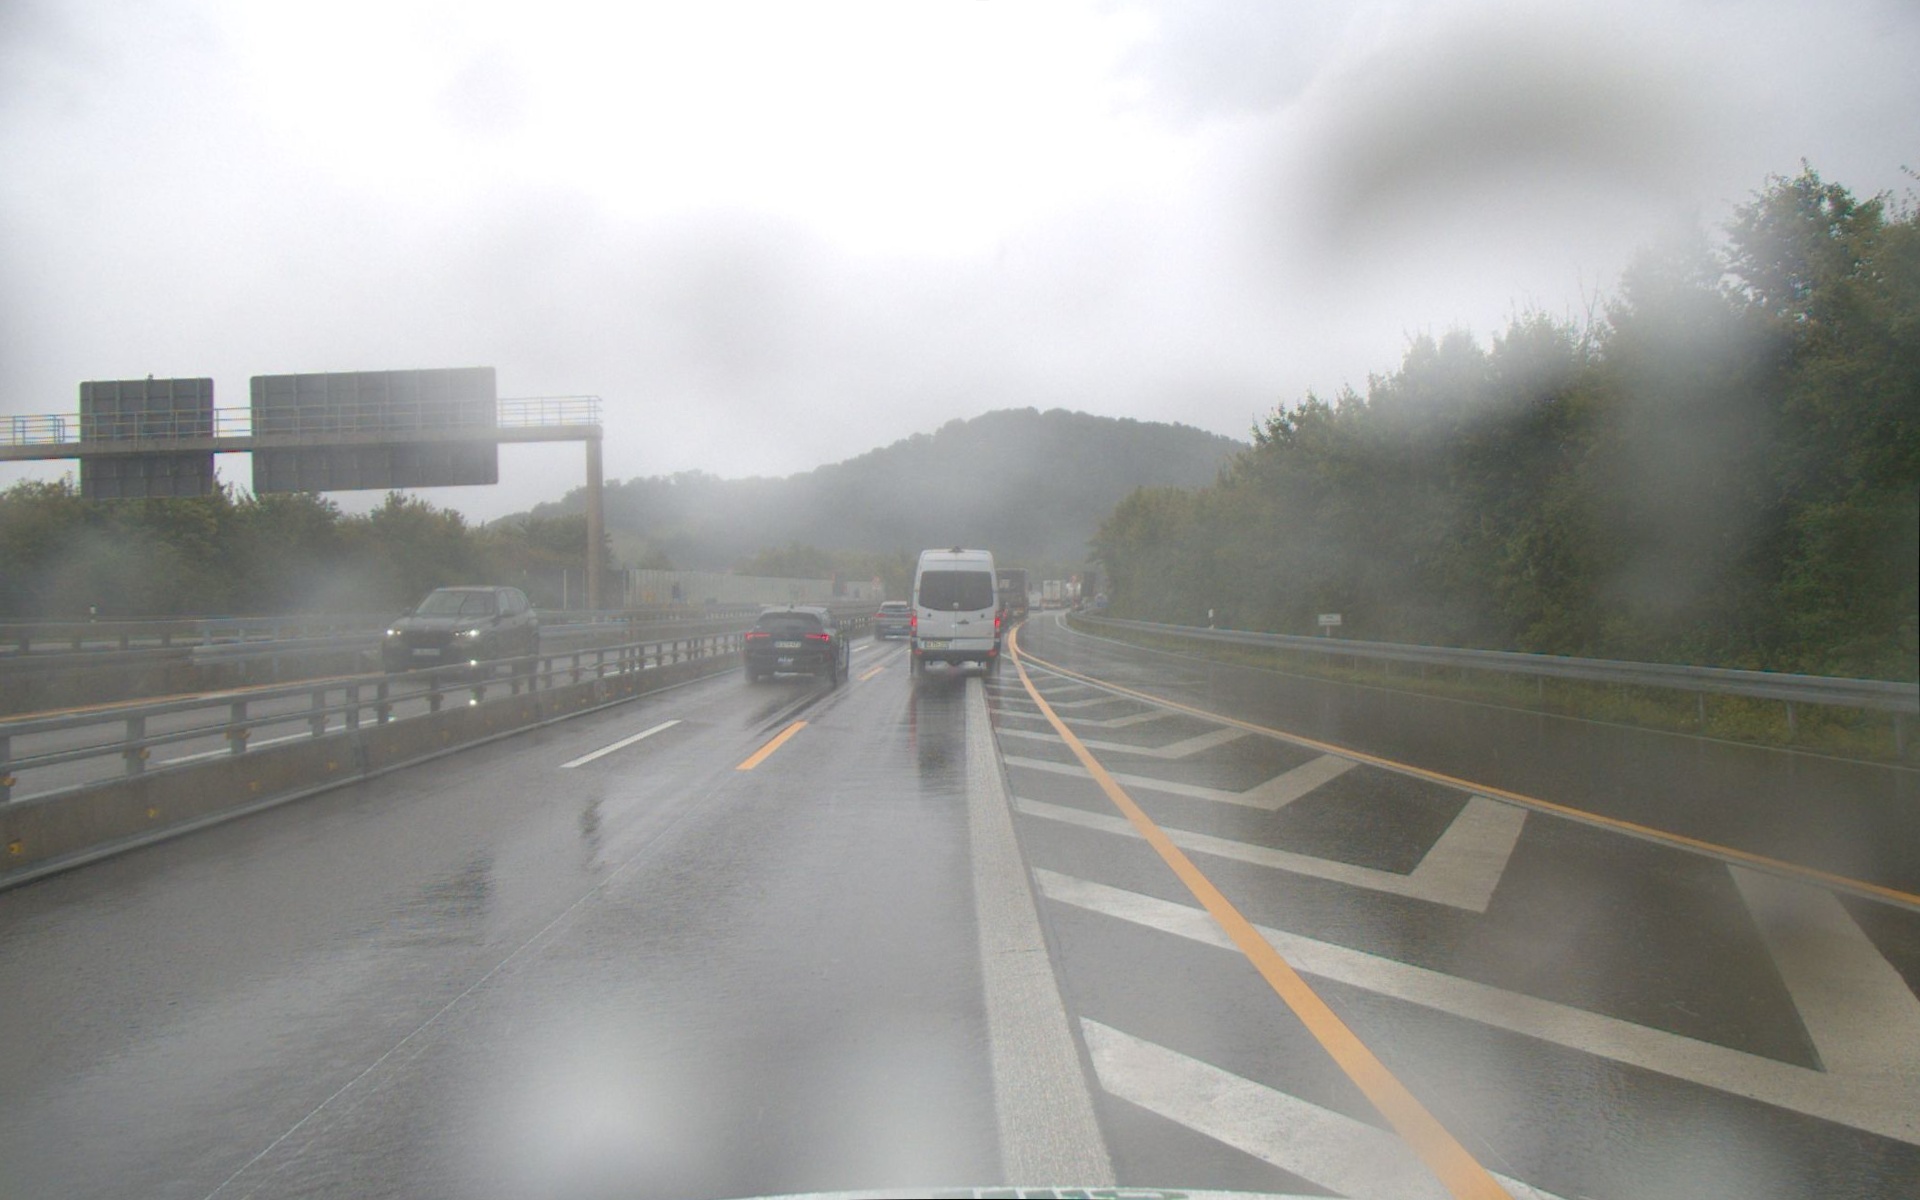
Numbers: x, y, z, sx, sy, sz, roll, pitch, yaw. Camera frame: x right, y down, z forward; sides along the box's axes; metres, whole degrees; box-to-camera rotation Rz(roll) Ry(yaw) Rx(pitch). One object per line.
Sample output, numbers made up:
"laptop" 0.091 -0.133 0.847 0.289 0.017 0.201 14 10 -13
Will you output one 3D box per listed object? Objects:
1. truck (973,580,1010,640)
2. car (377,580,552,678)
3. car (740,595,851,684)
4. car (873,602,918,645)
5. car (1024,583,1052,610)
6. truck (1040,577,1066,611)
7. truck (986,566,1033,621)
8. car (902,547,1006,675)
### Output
"truck" 1.793 0.553 92.866 1.952 3.163 8.500 1 0 2
"car" -9.546 0.536 32.307 1.911 1.747 5.102 1 0 -1
"car" -3.132 0.737 32.116 1.908 1.588 3.998 1 0 -3
"car" -2.553 0.931 66.358 1.672 1.656 3.999 1 0 -1
"car" 8.841 -0.373 187.126 2.837 2.938 6.415 1 0 6
"truck" 12.818 -0.765 227.611 2.972 4.483 9.630 1 0 6
"truck" 4.300 -0.474 141.387 3.506 4.483 9.628 1 0 4
"car" -0.124 0.239 36.776 2.101 2.616 5.389 1 0 0
